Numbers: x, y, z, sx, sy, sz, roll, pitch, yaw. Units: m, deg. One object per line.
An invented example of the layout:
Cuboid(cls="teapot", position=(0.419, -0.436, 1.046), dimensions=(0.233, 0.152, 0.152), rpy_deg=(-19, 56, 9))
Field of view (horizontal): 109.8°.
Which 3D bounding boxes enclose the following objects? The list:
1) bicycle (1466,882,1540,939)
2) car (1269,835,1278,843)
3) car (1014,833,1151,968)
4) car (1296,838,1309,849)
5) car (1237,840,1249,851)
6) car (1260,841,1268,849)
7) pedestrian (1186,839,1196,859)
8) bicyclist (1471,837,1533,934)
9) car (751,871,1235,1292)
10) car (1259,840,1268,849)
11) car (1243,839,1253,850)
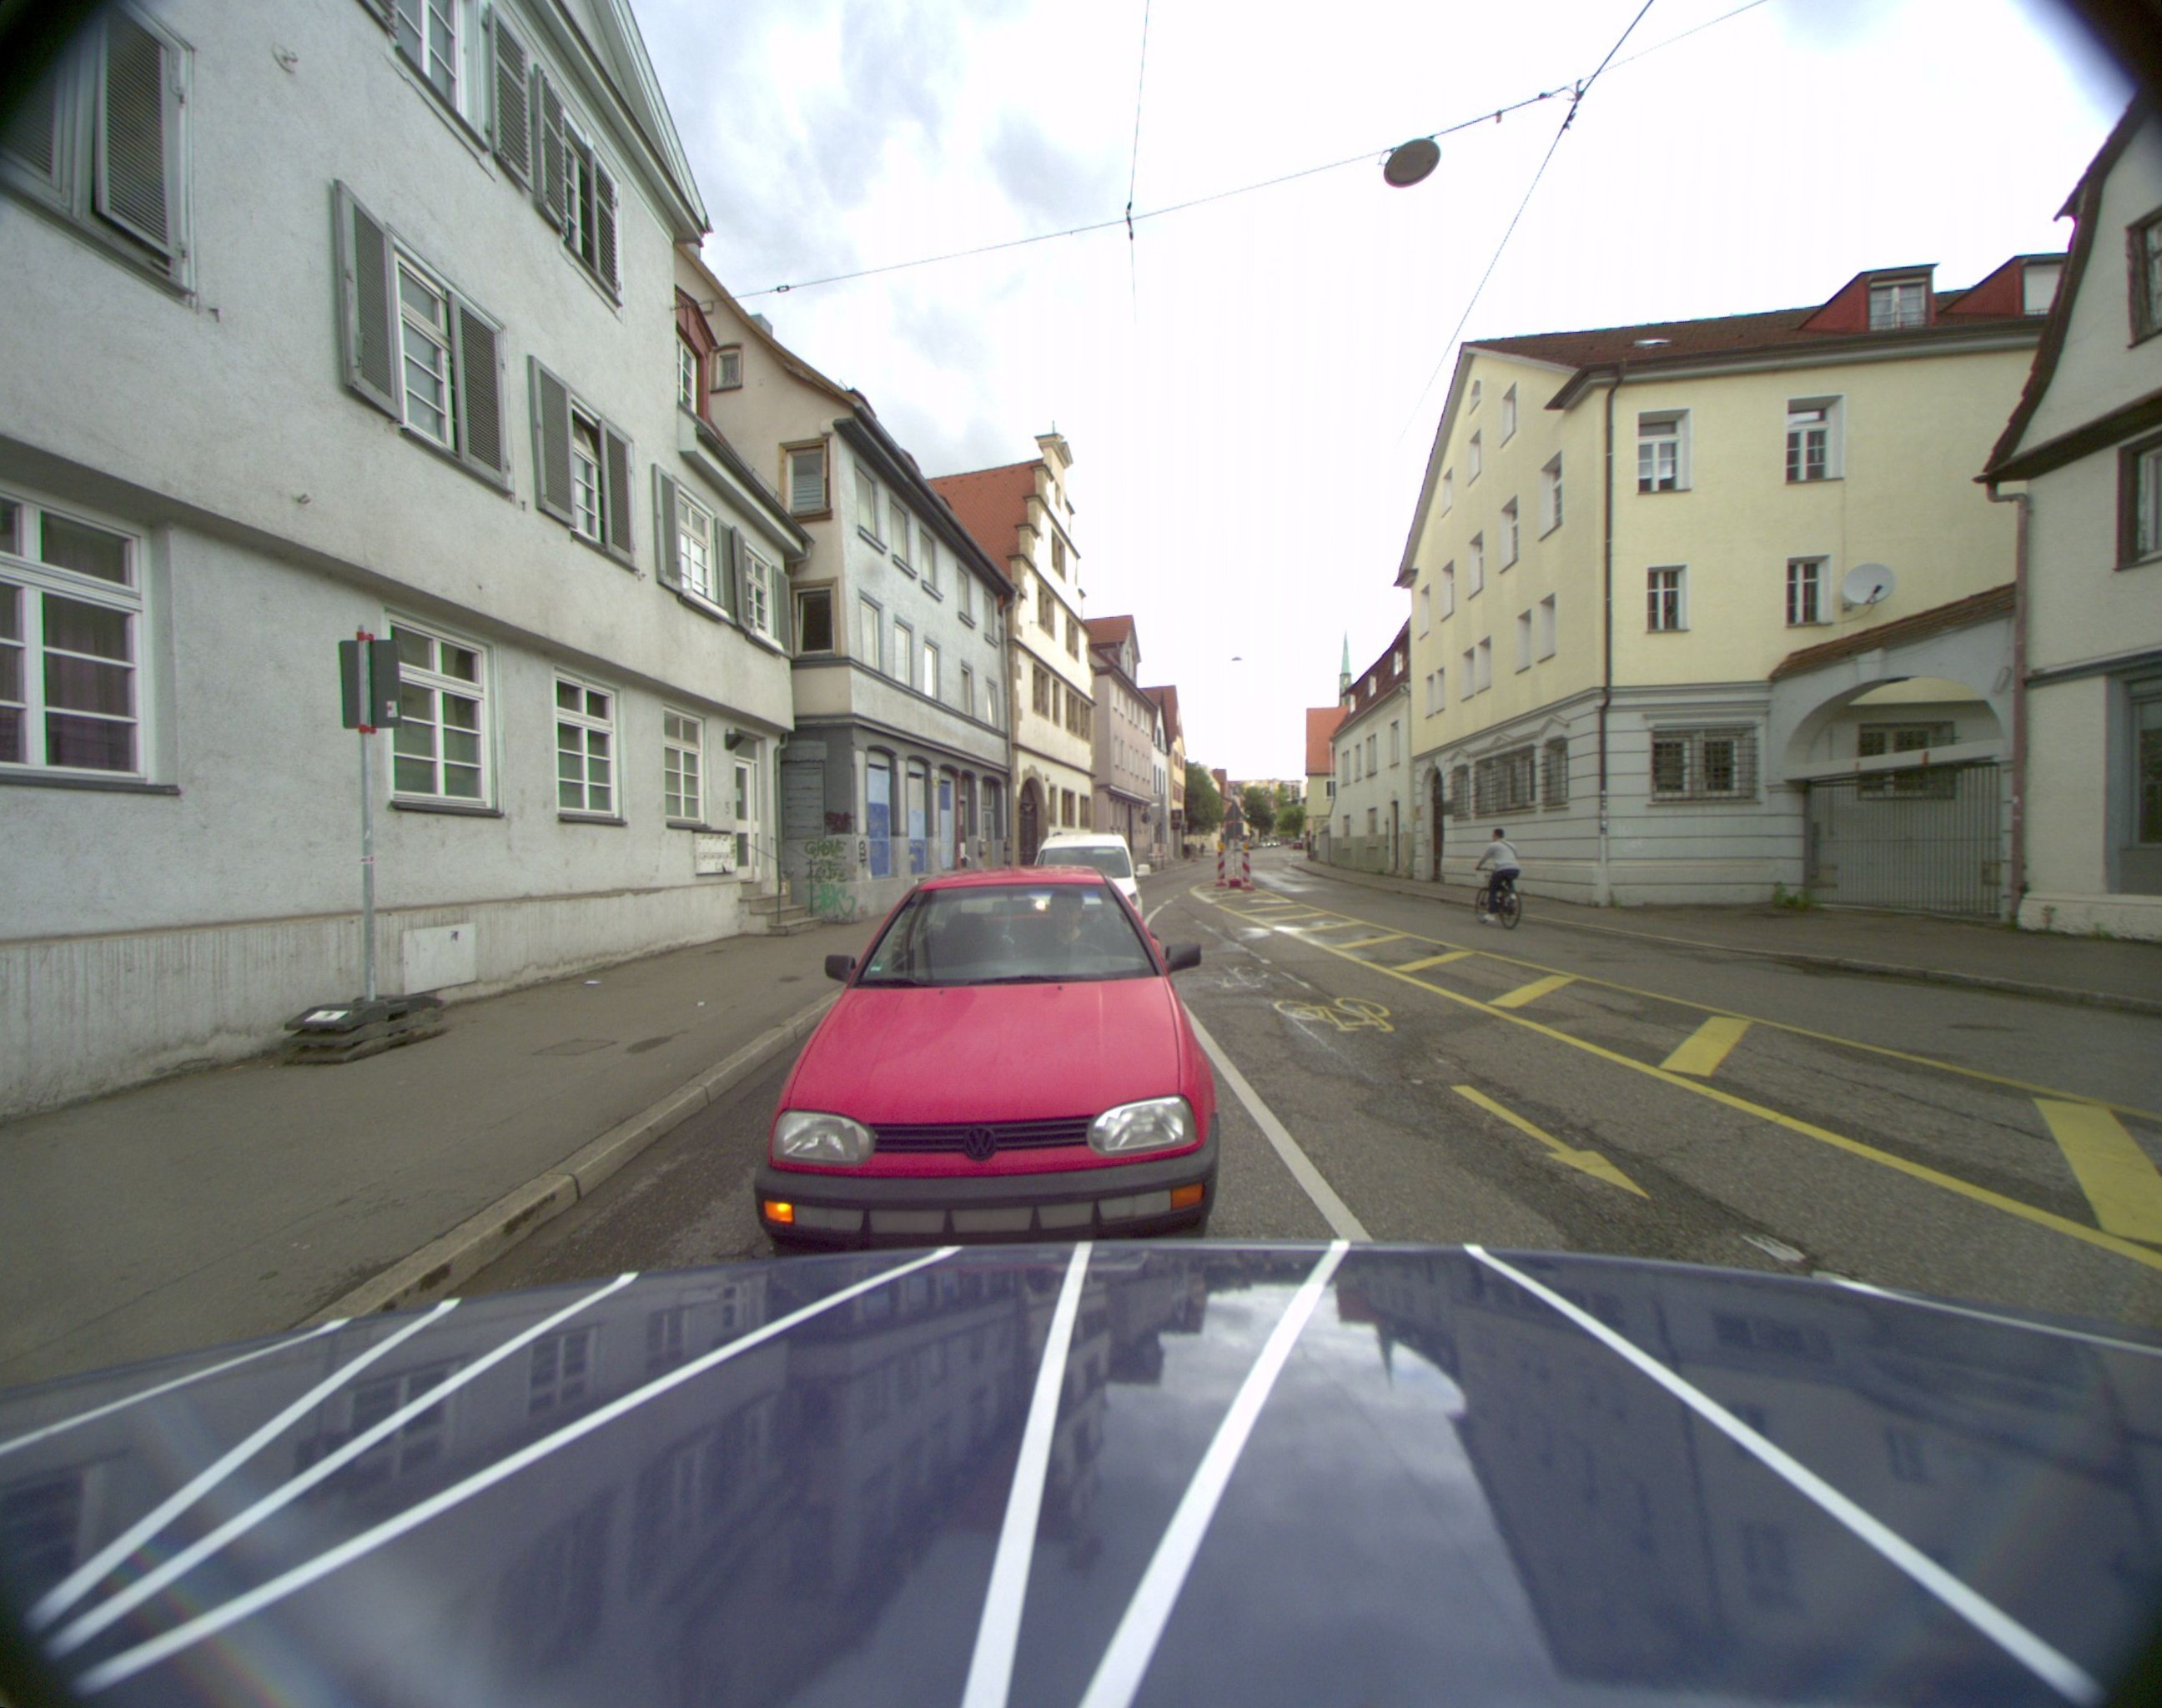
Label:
Cuboid(cls="bicycle", position=(7.564, 0.977, 13.698), dimensions=(0.542, 0.887, 1.881), rpy_deg=(-1, 0, 9))
Cuboid(cls="car", position=(45.840, -3.550, 181.006), dimensions=(1.996, 2.002, 4.004), rpy_deg=(-1, 0, 13))
Cuboid(cls="car", position=(0.047, 0.624, 12.342), dimensions=(1.804, 1.781, 4.349), rpy_deg=(-1, 0, 1))
Cuboid(cls="car", position=(42.714, -1.937, 146.677), dimensions=(2.057, 2.002, 4.004), rpy_deg=(-1, 0, 13))
Cuboid(cls="car", position=(28.442, -1.489, 133.598), dimensions=(1.996, 2.002, 4.004), rpy_deg=(-1, 0, 13))
Cuboid(cls="car", position=(48.468, -2.326, 201.380), dimensions=(1.996, 2.002, 4.004), rpy_deg=(-1, 0, 13))
Cuboid(cls="pedestrian", position=(10.299, -0.439, 71.148), dimensions=(0.877, 1.888, 0.897), rpy_deg=(-1, 0, 5))
Cuboid(cls="bicyclist", position=(7.532, 0.550, 13.636), dimensions=(0.724, 1.691, 0.811), rpy_deg=(-1, 0, 9))
Cuboid(cls="car", position=(-0.318, 0.940, 4.972), dimensions=(1.804, 1.458, 4.000), rpy_deg=(-4, 0, 1))
Cuboid(cls="car", position=(44.946, -2.360, 186.906), dimensions=(1.996, 2.002, 4.004), rpy_deg=(-1, 0, 13))
Cuboid(cls="car", position=(33.903, -1.922, 154.388), dimensions=(1.996, 2.002, 4.004), rpy_deg=(-1, 0, 13))
